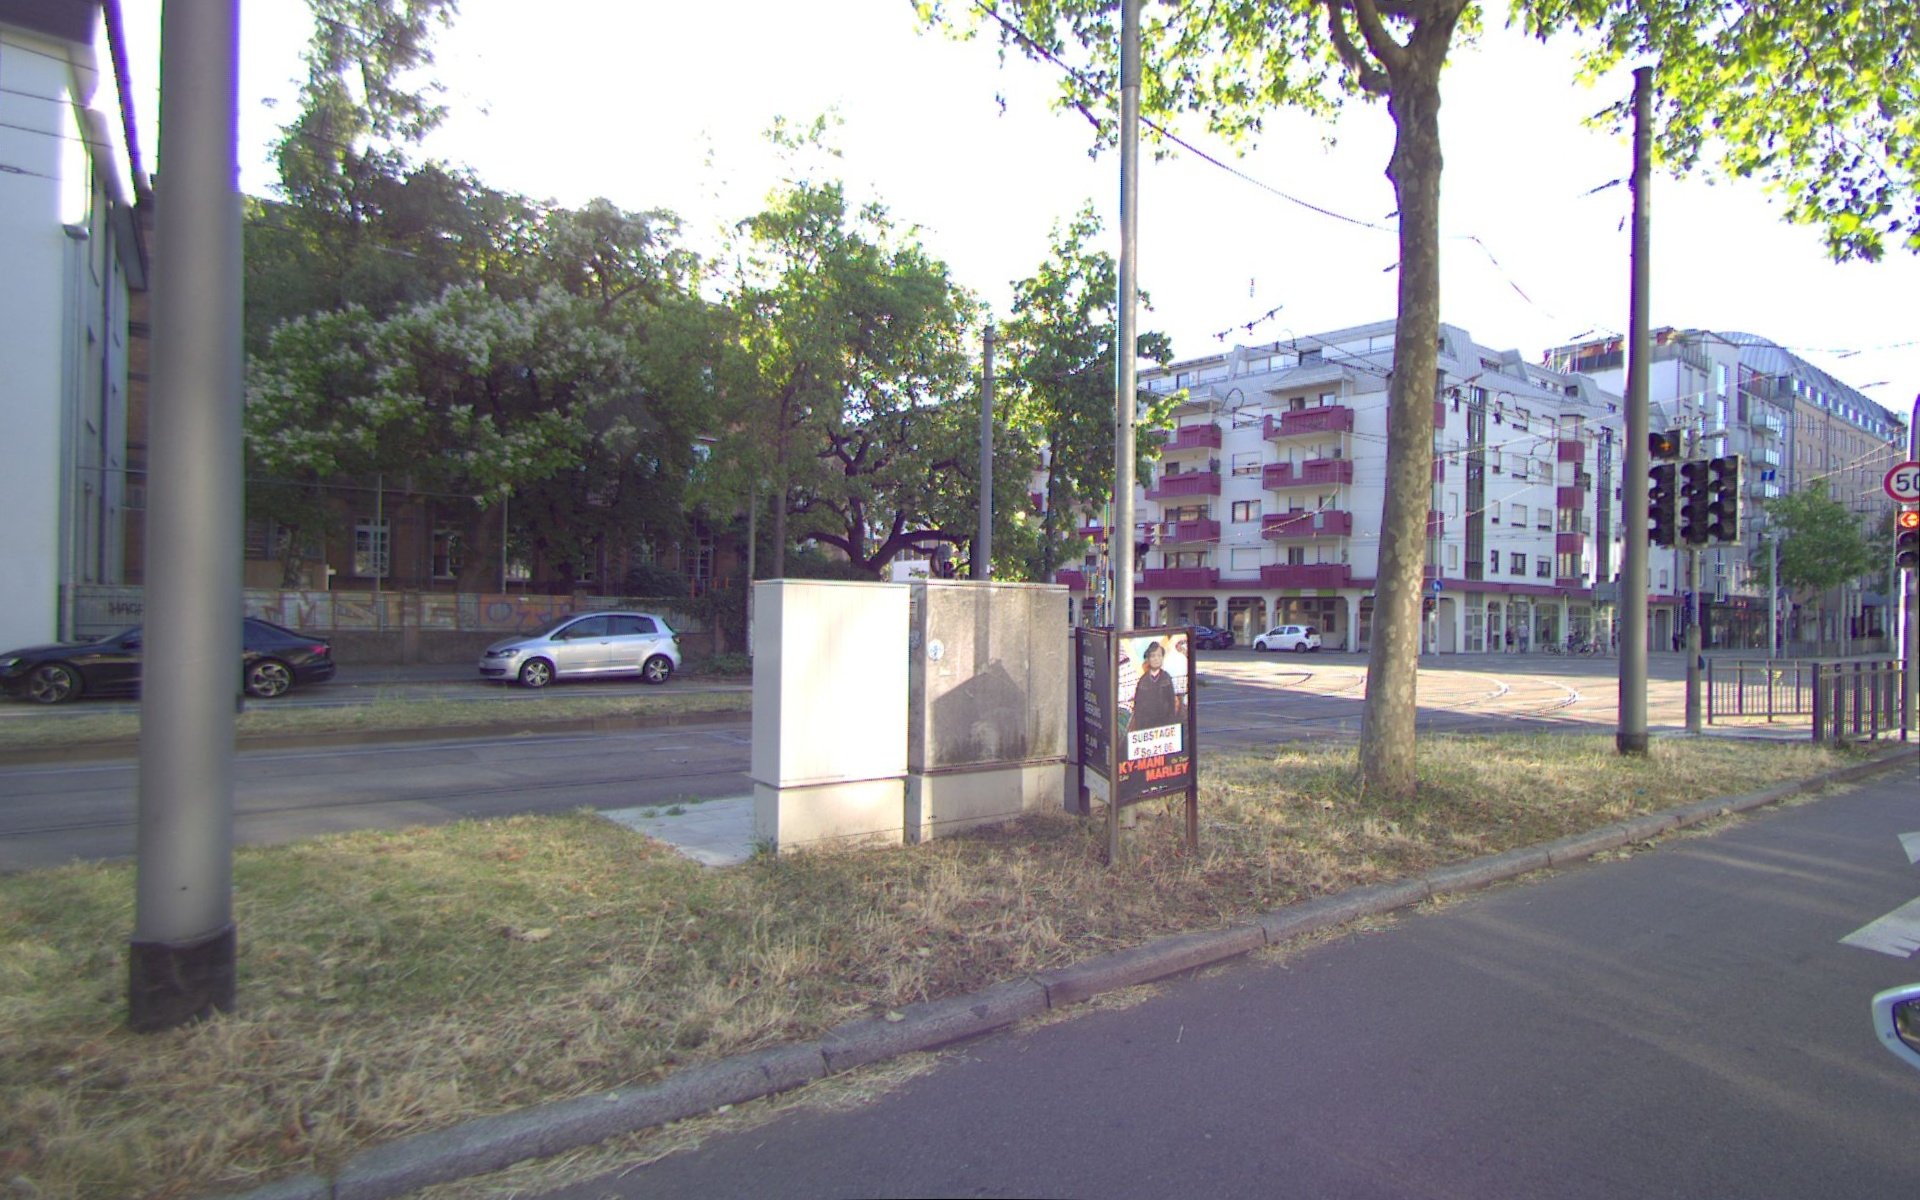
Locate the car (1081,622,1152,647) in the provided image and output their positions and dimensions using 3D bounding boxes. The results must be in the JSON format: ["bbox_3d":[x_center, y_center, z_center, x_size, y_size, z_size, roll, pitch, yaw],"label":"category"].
[{"bbox_3d":[9.890,2.171,63.711,4.213,1.483,1.791,-1,-2,45],"label":"car"}]

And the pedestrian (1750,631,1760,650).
[{"bbox_3d":[62.433,3.158,78.842,0.523,1.478,0.506,1,-1,-38],"label":"pedestrian"}]

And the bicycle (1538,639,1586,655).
[{"bbox_3d":[32.613,2.521,54.409,0.635,0.797,2.152,1,-1,-38],"label":"bicycle"}]

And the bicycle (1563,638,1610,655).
[{"bbox_3d":[34.522,2.550,55.340,0.523,0.835,2.152,1,-1,-38],"label":"bicycle"}]

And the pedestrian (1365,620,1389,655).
[{"bbox_3d":[19.835,1.779,47.767,1.025,1.684,0.702,1,-2,-41],"label":"pedestrian"}]

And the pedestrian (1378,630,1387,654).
[{"bbox_3d":[22.151,2.202,52.656,0.316,1.230,0.301,1,-2,-41],"label":"pedestrian"}]

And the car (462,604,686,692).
[{"bbox_3d":[-8.293,0.988,21.739,4.141,1.711,1.978,1,-1,-38],"label":"car"}]

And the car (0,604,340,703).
[{"bbox_3d":[-13.546,0.860,17.369,4.609,1.495,1.978,1,-1,-39],"label":"car"}]

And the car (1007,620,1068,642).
[{"bbox_3d":[5.288,2.107,68.761,3.946,1.483,1.791,-1,-2,45],"label":"car"}]

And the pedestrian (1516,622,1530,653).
[{"bbox_3d":[31.112,2.064,55.525,0.523,1.721,0.506,1,-1,-38],"label":"pedestrian"}]

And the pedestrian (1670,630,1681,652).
[{"bbox_3d":[49.335,2.806,69.256,0.524,1.478,0.505,1,-1,-43],"label":"pedestrian"}]

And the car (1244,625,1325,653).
[{"bbox_3d":[17.926,2.119,55.579,3.944,1.483,1.792,-1,-2,43],"label":"car"}]

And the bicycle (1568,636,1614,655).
[{"bbox_3d":[35.009,2.516,55.757,0.487,0.963,2.152,1,-1,-38],"label":"bicycle"}]

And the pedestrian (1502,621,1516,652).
[{"bbox_3d":[30.648,2.017,56.069,0.523,1.721,0.506,1,-1,-38],"label":"pedestrian"}]

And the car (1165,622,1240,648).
[{"bbox_3d":[14.239,2.054,59.079,3.943,1.483,1.792,-1,-2,43],"label":"car"}]

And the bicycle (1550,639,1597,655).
[{"bbox_3d":[33.364,2.550,54.651,0.487,0.797,2.152,1,-1,-38],"label":"bicycle"}]
